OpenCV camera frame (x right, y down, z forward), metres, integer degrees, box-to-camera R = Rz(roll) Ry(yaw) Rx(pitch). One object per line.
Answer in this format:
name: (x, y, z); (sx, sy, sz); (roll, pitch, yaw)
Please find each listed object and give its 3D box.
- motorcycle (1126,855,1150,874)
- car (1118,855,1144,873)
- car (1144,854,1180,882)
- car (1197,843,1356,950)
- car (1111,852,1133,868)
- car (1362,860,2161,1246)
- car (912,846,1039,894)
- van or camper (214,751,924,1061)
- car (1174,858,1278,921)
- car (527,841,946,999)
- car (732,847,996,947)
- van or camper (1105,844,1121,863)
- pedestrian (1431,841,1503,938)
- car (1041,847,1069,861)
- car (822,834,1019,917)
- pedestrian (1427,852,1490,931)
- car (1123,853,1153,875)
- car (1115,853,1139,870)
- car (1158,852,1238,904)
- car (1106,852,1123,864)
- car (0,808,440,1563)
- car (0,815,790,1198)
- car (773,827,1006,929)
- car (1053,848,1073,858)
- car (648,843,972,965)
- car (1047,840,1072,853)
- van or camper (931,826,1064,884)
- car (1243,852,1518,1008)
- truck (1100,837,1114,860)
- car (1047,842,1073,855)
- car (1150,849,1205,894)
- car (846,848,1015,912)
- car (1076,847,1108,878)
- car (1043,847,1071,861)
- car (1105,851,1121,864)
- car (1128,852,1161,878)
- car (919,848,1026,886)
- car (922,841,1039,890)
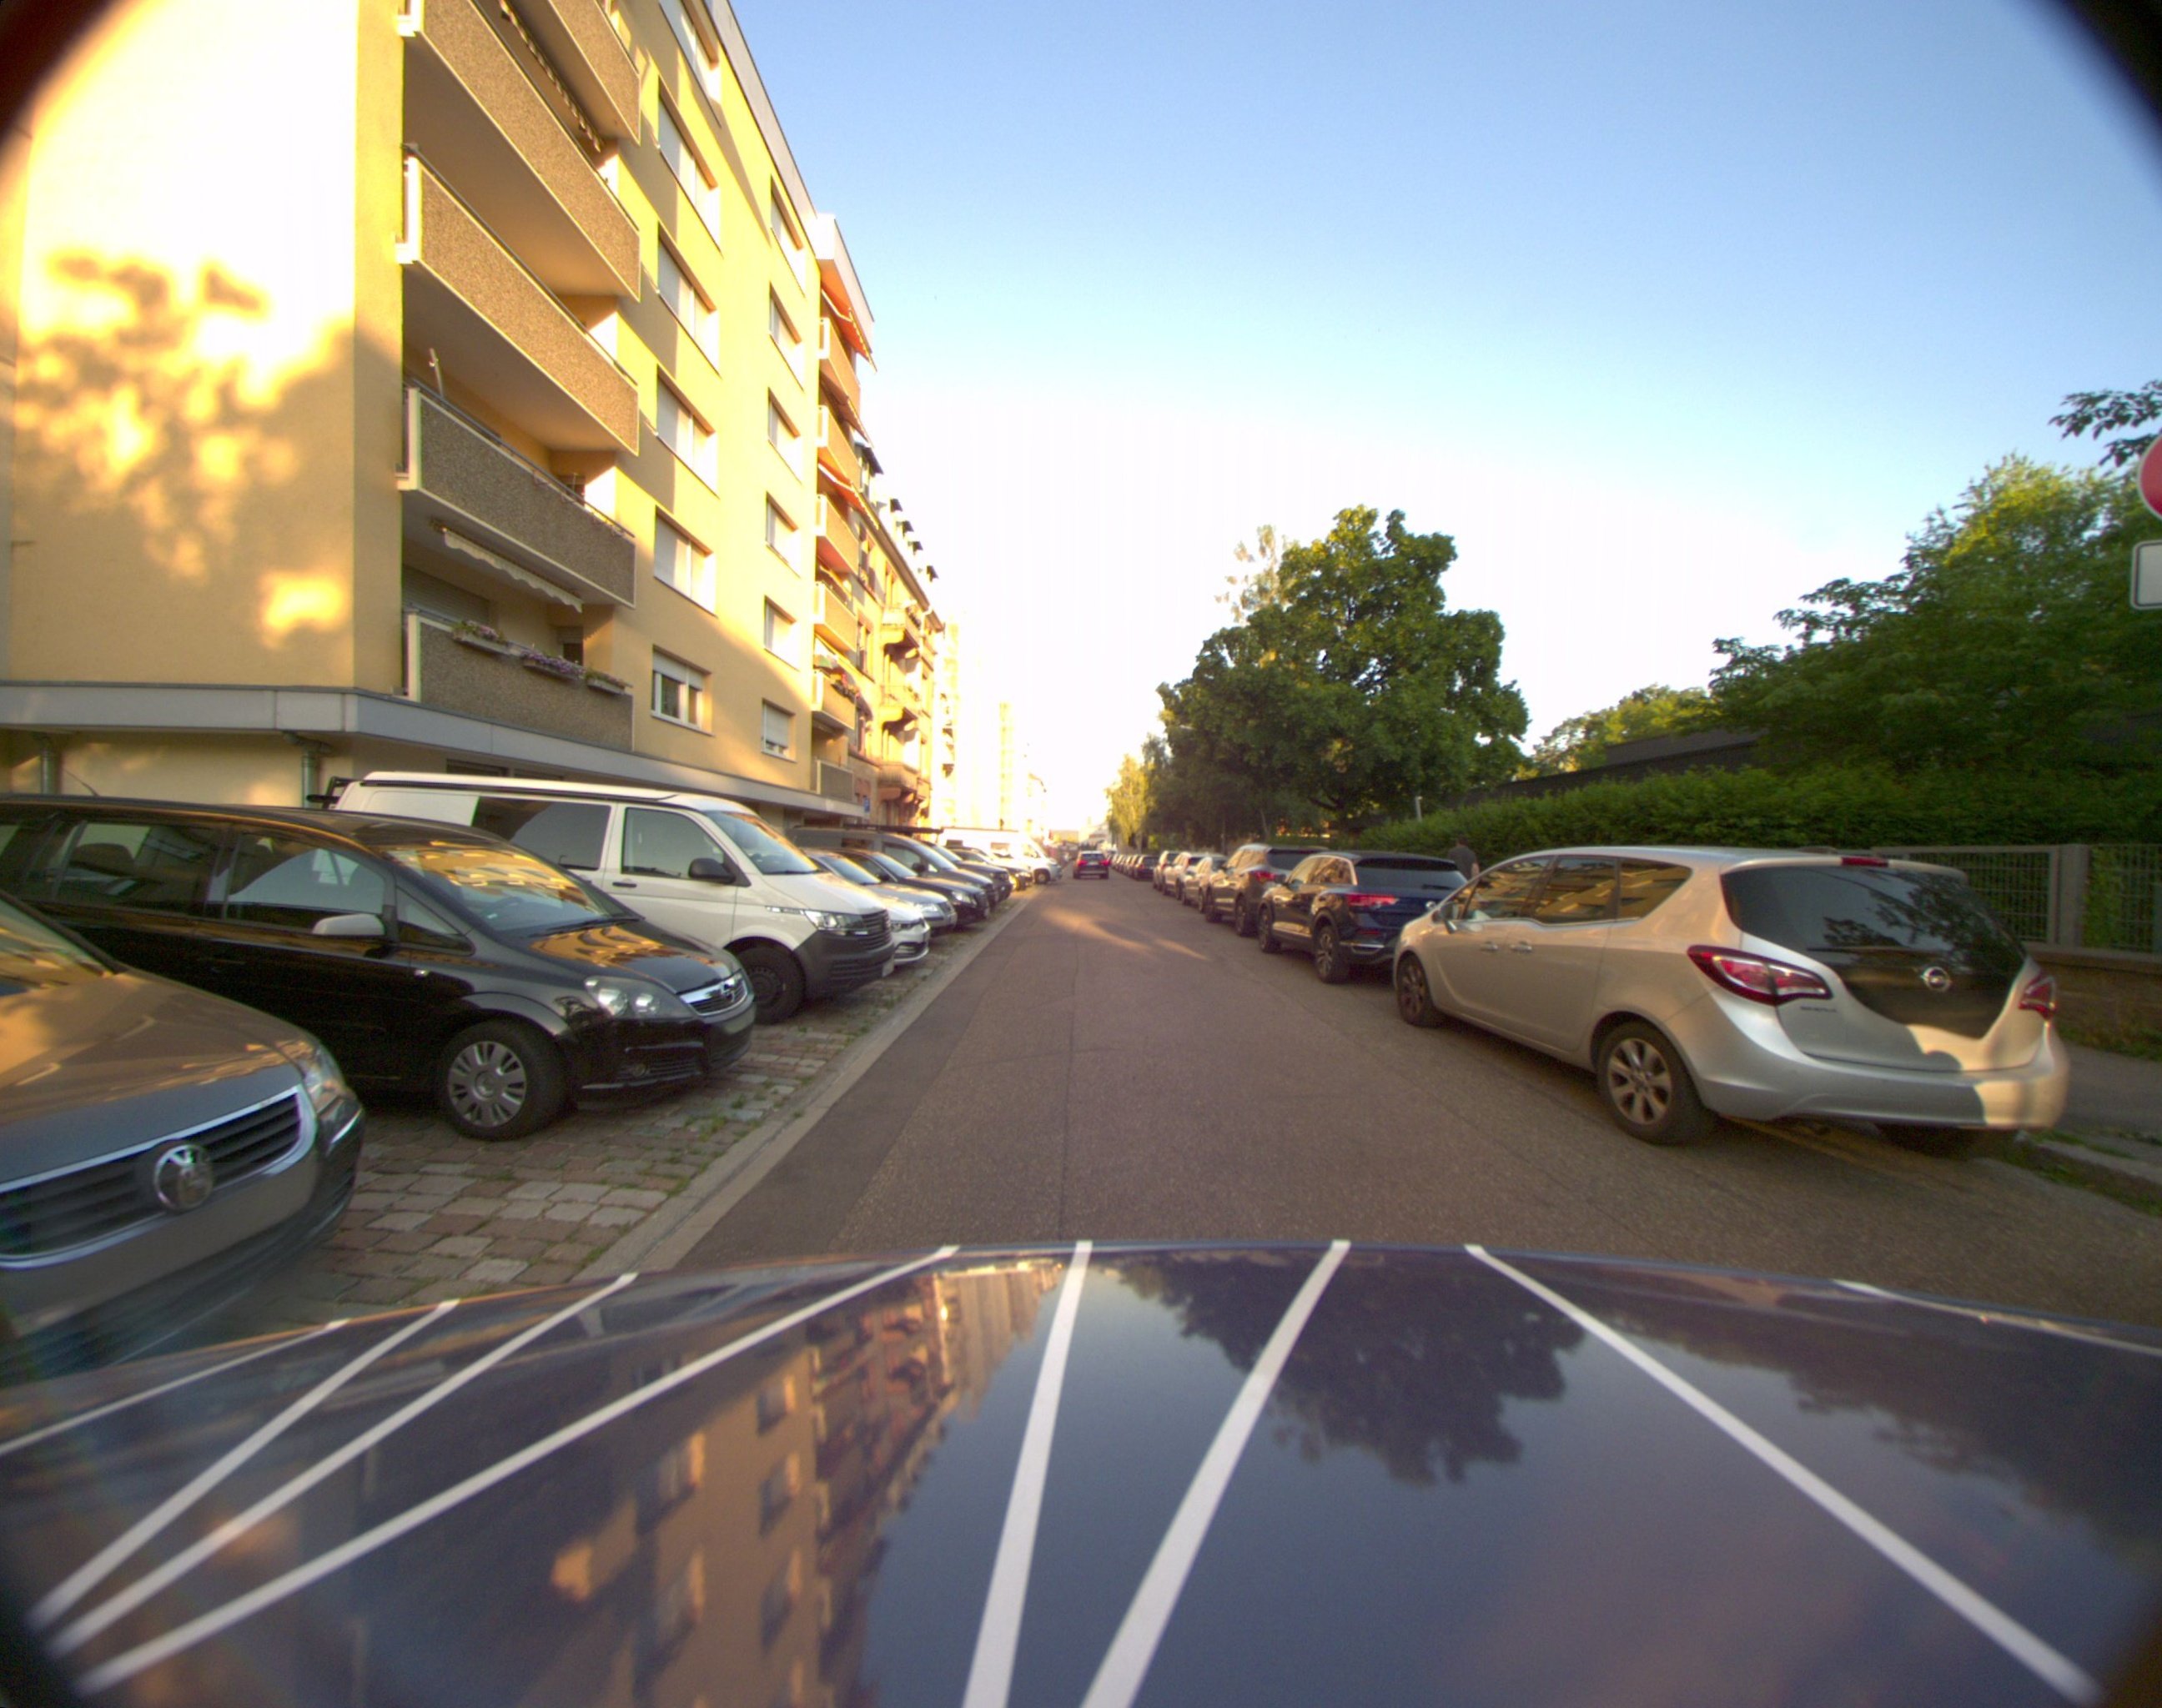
motorcycle: (3.797, 0.701, 50.740); (1.596, 1.251, 0.785); (0, 1, 3)
car: (3.863, 0.730, 59.319); (1.738, 1.280, 3.804); (2, 0, -1)
car: (4.415, 0.761, 41.772); (1.624, 1.417, 3.415); (2, 0, 0)
car: (3.574, 0.690, 14.736); (1.738, 1.720, 4.321); (2, 0, -3)
car: (3.902, 0.554, 72.968); (1.738, 1.358, 4.290); (2, 0, -1)
car: (3.694, 0.872, 5.283); (1.738, 1.558, 4.128); (2, 0, -3)
car: (-3.890, 0.572, 28.525); (4.414, 1.545, 1.845); (2, 2, 1)
van or camper: (-4.318, 0.426, 7.157); (5.147, 2.155, 2.039); (4, 1, -2)
car: (3.739, 0.873, 20.386); (1.738, 1.418, 4.285); (2, 0, -3)
car: (-4.101, 0.740, 9.590); (4.415, 1.622, 1.845); (2, 2, 0)
car: (-3.927, 0.756, 14.307); (4.415, 1.554, 1.845); (2, 2, 0)
van or camper: (4.300, -0.106, 102.565); (1.825, 2.400, 4.290); (2, 0, -1)
pedestrian: (7.125, 0.640, 14.065); (0.901, 1.722, 0.750); (-2, 1, -1)
car: (-3.780, -0.027, 110.681); (3.997, 2.002, 2.000); (0, 1, 0)
car: (-3.939, 0.518, 19.189); (4.524, 1.852, 1.845); (2, 1, 0)
pedestrian: (7.522, 0.725, 15.155); (0.750, 1.499, 0.901); (-2, 1, -2)
car: (3.986, 0.660, 53.576); (1.738, 1.417, 3.804); (2, 0, -1)
car: (3.885, 0.639, 64.524); (1.738, 1.358, 3.804); (2, 0, -1)
car: (3.770, 0.723, 25.253); (1.763, 1.534, 4.279); (2, 0, -3)
car: (3.960, 0.453, 91.200); (1.738, 1.358, 4.290); (2, 0, -1)
car: (-4.627, 0.656, 1.885); (4.415, 1.652, 1.844); (3, 2, -2)
car: (-4.276, 0.722, 4.534); (4.337, 1.652, 1.780); (3, 2, -2)
car: (-4.098, 0.467, 16.798); (4.649, 1.970, 1.845); (2, 3, 0)
car: (-3.547, -0.148, 154.035); (3.997, 2.002, 2.000); (0, 1, 0)
car: (-4.077, 0.712, 11.966); (4.415, 1.584, 1.845); (2, 2, 0)
car: (-3.410, -1.175, 122.324); (3.997, 2.002, 2.000); (0, 1, 0)
van or camper: (-3.908, 0.043, 36.476); (6.074, 2.489, 2.050); (2, 1, 0)
car: (3.542, 0.783, 9.919); (1.738, 1.558, 4.166); (2, 0, -3)
truck: (4.419, -0.888, 129.702); (2.183, 3.860, 4.926); (0, 1, 0)
car: (-3.324, -0.840, 119.177); (3.997, 2.002, 2.000); (0, 1, 0)
car: (3.822, 0.665, 30.629); (1.738, 1.622, 3.980); (2, 0, 1)
car: (-4.233, 0.702, 21.823); (4.414, 1.545, 1.845); (2, 2, 2)
car: (0.605, 0.474, 43.831); (1.738, 1.622, 4.125); (2, 0, 0)
car: (-3.425, -0.003, 108.133); (3.997, 2.002, 2.000); (0, 1, 0)
car: (4.059, 0.415, 96.828); (1.738, 1.502, 4.290); (2, 0, -1)
car: (3.886, 0.650, 47.185); (1.738, 1.438, 3.804); (2, 0, 0)
car: (-4.750, 0.553, 33.628); (4.414, 1.610, 1.845); (0, 3, 2)
car: (-4.059, 0.451, 31.094); (4.413, 1.739, 1.845); (2, 3, 4)
